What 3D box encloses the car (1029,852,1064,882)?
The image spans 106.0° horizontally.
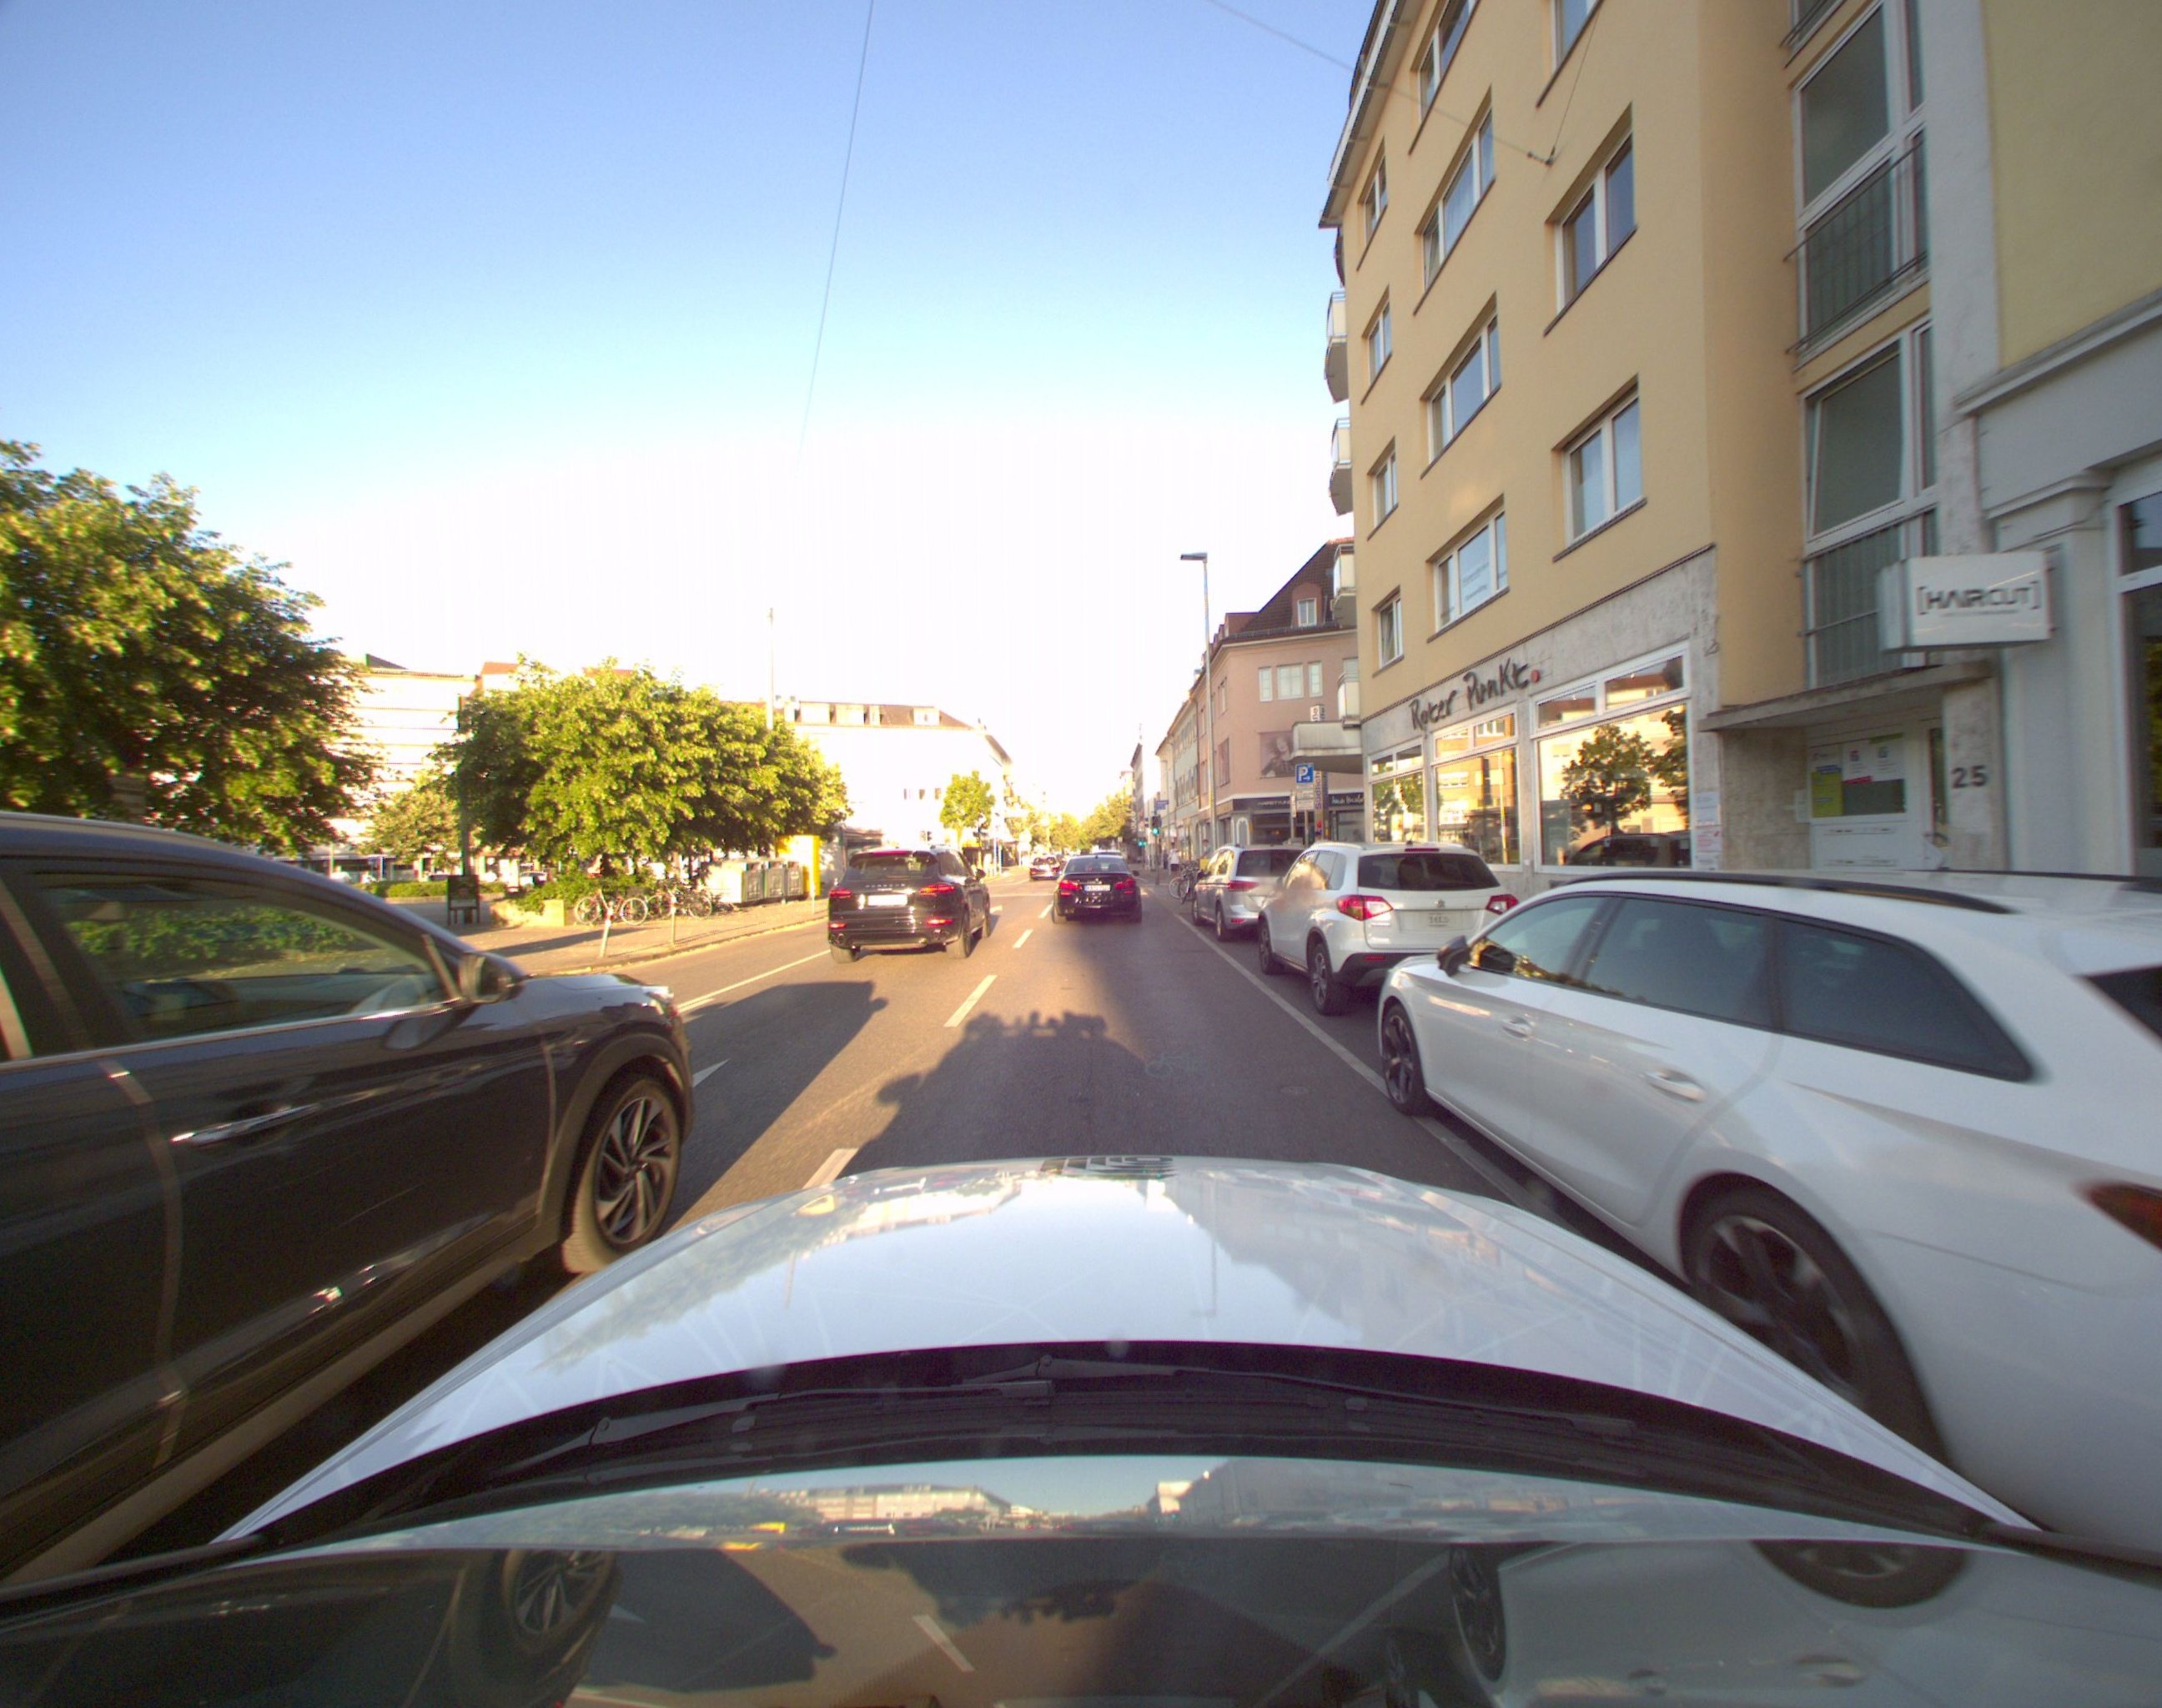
[{"bbox_3d":[-1.974,0.716,47.708,1.867,1.595,4.448,-1,0,-1],"label":"car"}]

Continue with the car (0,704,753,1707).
[{"bbox_3d":[-2.632,0.639,1.876,1.866,1.689,4.449,-2,0,0],"label":"car"}]

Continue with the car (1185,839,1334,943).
[{"bbox_3d":[3.120,0.580,15.226,1.692,1.616,4.681,-1,0,-1],"label":"car"}]

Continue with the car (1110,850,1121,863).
[{"bbox_3d":[5.212,0.353,122.926,1.417,1.855,3.050,0,-1,-2],"label":"car"}]

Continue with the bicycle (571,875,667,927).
[{"bbox_3d":[-11.432,1.149,20.196,2.020,1.252,0.548,0,0,-3],"label":"bicycle"}]

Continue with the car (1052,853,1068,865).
[{"bbox_3d":[-2.999,0.653,114.200,1.990,1.618,3.993,-1,0,-5],"label":"car"}]

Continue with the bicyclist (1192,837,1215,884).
[{"bbox_3d":[4.810,0.257,32.041,0.828,1.826,0.833,-1,0,9],"label":"bicyclist"}]

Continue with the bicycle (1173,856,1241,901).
[{"bbox_3d":[3.639,0.702,23.508,1.782,1.173,0.620,-3,0,-11],"label":"bicycle"}]

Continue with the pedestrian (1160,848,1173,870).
[{"bbox_3d":[6.589,0.404,62.798,0.821,1.642,0.871,-2,0,-1],"label":"pedestrian"}]

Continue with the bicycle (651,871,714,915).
[{"bbox_3d":[-11.416,1.111,23.332,1.581,1.252,0.445,0,0,-1],"label":"bicycle"}]

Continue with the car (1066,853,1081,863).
[{"bbox_3d":[-1.104,0.608,119.804,1.990,1.442,3.993,-1,0,-5],"label":"car"}]

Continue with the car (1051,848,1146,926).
[{"bbox_3d":[0.353,0.662,18.635,1.897,1.540,4.449,-1,0,0],"label":"car"}]

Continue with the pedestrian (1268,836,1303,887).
[{"bbox_3d":[6.829,0.248,27.200,0.782,1.653,0.785,-2,0,44],"label":"pedestrian"}]

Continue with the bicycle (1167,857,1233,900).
[{"bbox_3d":[3.520,0.718,24.142,1.782,1.173,0.620,-3,0,-11],"label":"bicycle"}]

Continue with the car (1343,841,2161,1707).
[{"bbox_3d":[2.598,0.703,3.270,1.727,1.457,4.612,-1,0,2],"label":"car"}]

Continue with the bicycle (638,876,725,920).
[{"bbox_3d":[-10.702,1.179,21.851,2.020,1.134,0.548,0,0,-3],"label":"bicycle"}]

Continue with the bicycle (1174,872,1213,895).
[{"bbox_3d":[3.642,0.942,26.446,1.004,0.681,1.047,-2,0,-8],"label":"bicycle"}]

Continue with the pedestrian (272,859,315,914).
[{"bbox_3d":[-25.259,1.037,26.122,0.726,1.725,0.902,-1,-1,39],"label":"pedestrian"}]

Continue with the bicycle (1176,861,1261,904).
[{"bbox_3d":[3.795,0.770,22.554,2.166,1.075,0.804,-3,0,-6],"label":"bicycle"}]

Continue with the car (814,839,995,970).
[{"bbox_3d":[-2.637,0.675,13.332,1.943,1.714,4.560,-2,0,-1],"label":"car"}]

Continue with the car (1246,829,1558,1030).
[{"bbox_3d":[3.063,0.613,8.799,1.810,1.621,4.205,-1,0,2],"label":"car"}]

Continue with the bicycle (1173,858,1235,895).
[{"bbox_3d":[3.888,0.712,25.823,1.782,1.063,0.716,-3,0,-11],"label":"bicycle"}]

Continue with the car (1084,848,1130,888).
[{"bbox_3d":[1.126,0.544,34.941,1.825,1.576,4.103,-1,0,2],"label":"car"}]

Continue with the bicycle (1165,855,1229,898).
[{"bbox_3d":[3.537,0.687,24.889,1.840,1.239,0.638,-2,0,-5],"label":"bicycle"}]

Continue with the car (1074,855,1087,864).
[{"bbox_3d":[-0.041,0.882,126.570,1.731,1.293,3.993,-1,0,-5],"label":"car"}]

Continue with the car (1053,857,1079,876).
[{"bbox_3d":[-1.281,1.064,71.163,1.986,1.486,4.002,-1,0,2],"label":"car"}]

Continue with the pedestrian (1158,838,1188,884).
[{"bbox_3d":[3.874,0.299,34.405,0.941,1.897,0.820,-2,0,-20],"label":"pedestrian"}]

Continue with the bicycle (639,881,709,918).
[{"bbox_3d":[-11.330,1.263,22.706,1.669,0.979,0.548,0,0,-3],"label":"bicycle"}]

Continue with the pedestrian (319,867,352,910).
[{"bbox_3d":[-28.765,1.307,31.428,0.696,1.621,0.846,-1,-1,39],"label":"pedestrian"}]

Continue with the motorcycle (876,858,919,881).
[{"bbox_3d":[-12.099,0.992,53.782,2.571,1.429,0.868,-2,0,2],"label":"motorcycle"}]

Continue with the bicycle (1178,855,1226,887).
[{"bbox_3d":[4.784,0.660,32.043,1.808,1.186,0.796,-2,0,10],"label":"bicycle"}]

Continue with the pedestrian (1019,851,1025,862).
[{"bbox_3d":[-9.599,0.403,132.330,0.821,1.676,0.871,-1,0,0],"label":"pedestrian"}]

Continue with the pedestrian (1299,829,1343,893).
[{"bbox_3d":[7.016,0.190,23.827,0.830,1.817,0.862,-1,0,-36],"label":"pedestrian"}]
